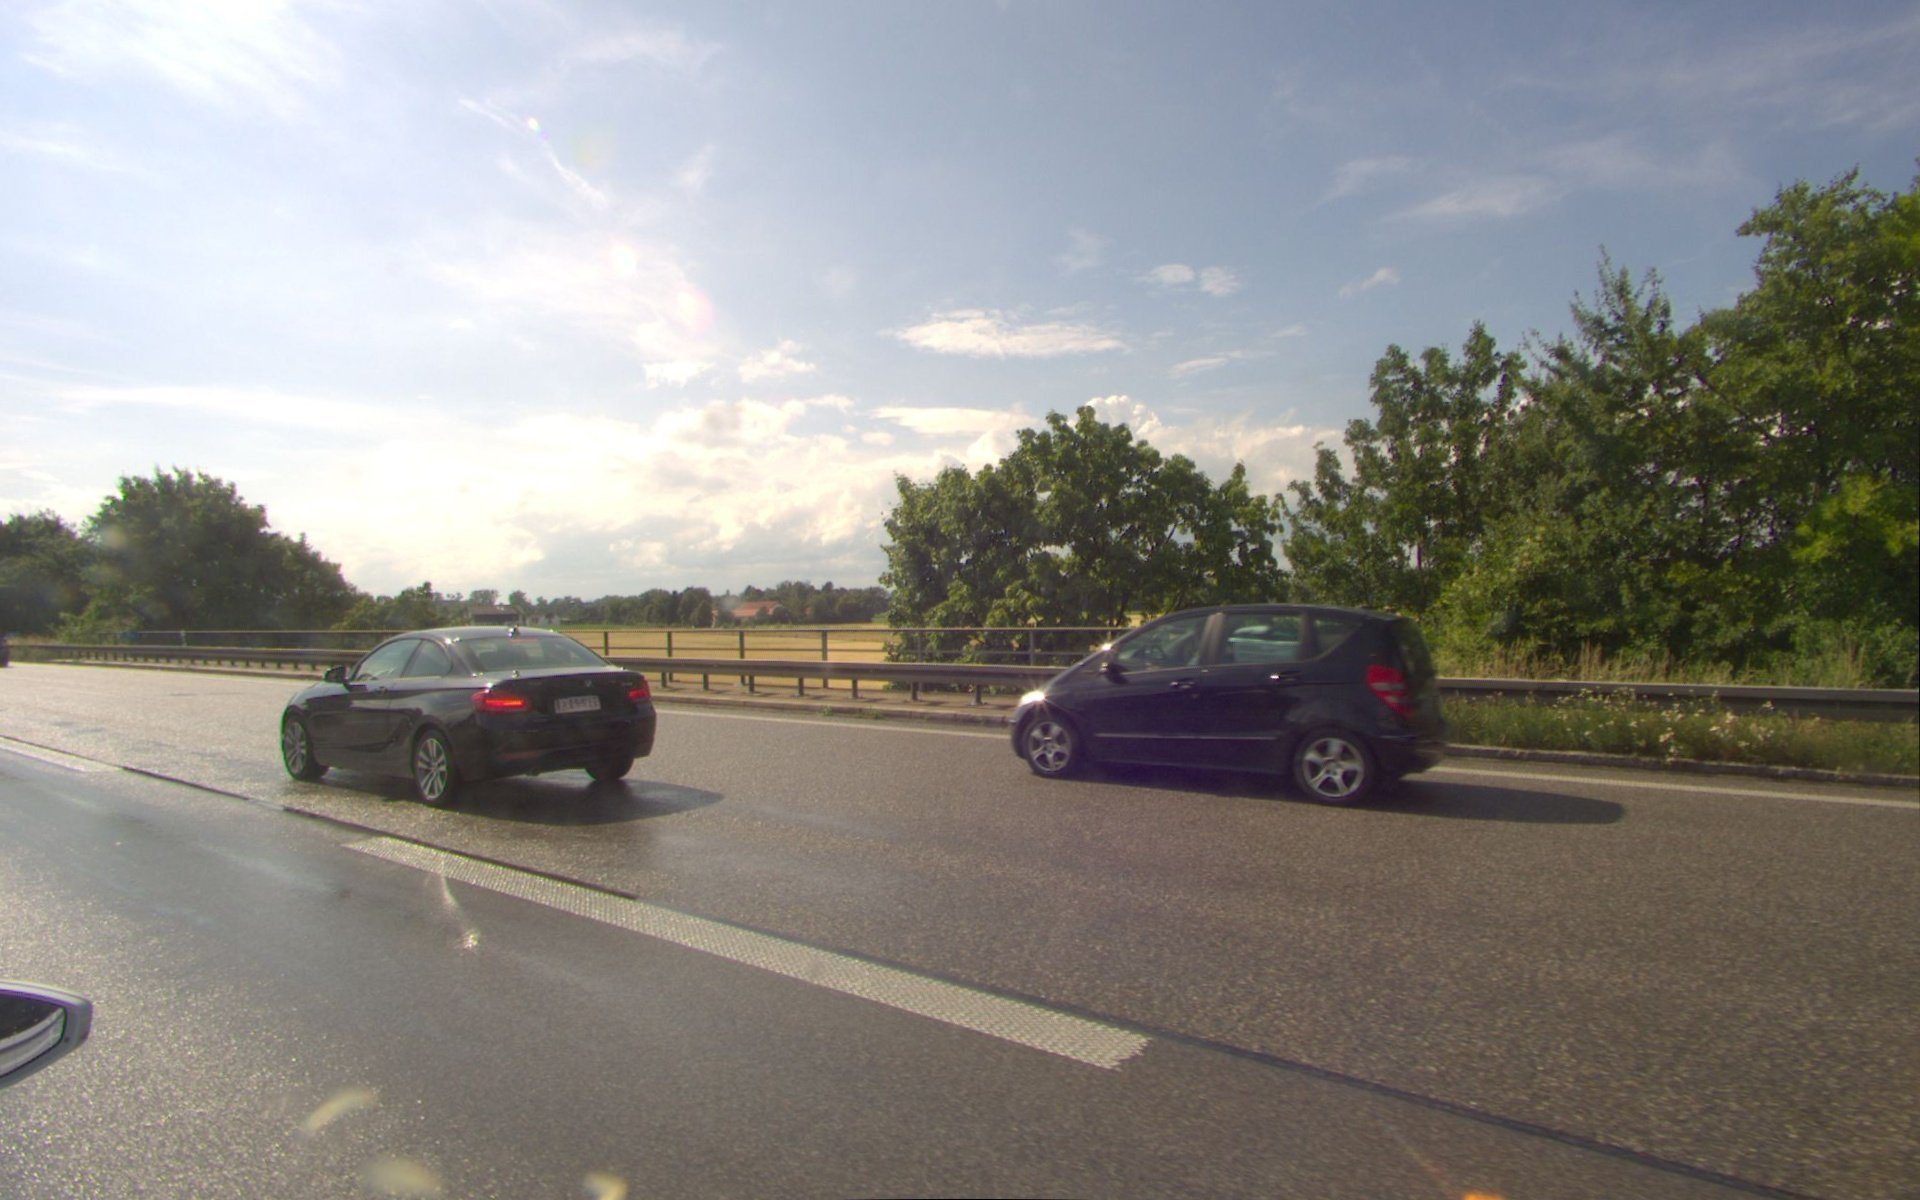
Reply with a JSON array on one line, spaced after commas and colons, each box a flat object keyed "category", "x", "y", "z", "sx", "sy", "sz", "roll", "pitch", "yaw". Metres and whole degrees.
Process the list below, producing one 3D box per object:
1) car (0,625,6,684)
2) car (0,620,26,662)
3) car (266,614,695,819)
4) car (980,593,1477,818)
[{"category": "car", "x": -25.589, "y": 1.362, "z": 25.141, "sx": 3.785, "sy": 1.439, "sz": 1.735, "roll": -1, "pitch": -1, "yaw": 36}, {"category": "car", "x": -39.440, "y": 1.634, "z": 40.425, "sx": 4.328, "sy": 1.634, "sz": 1.782, "roll": -1, "pitch": -1, "yaw": 37}, {"category": "car", "x": -4.590, "y": 0.914, "z": 9.372, "sx": 4.200, "sy": 1.483, "sz": 1.842, "roll": -1, "pitch": 0, "yaw": 36}, {"category": "car", "x": 2.309, "y": 0.808, "z": 9.013, "sx": 3.948, "sy": 1.589, "sz": 1.843, "roll": -1, "pitch": -2, "yaw": 36}]
